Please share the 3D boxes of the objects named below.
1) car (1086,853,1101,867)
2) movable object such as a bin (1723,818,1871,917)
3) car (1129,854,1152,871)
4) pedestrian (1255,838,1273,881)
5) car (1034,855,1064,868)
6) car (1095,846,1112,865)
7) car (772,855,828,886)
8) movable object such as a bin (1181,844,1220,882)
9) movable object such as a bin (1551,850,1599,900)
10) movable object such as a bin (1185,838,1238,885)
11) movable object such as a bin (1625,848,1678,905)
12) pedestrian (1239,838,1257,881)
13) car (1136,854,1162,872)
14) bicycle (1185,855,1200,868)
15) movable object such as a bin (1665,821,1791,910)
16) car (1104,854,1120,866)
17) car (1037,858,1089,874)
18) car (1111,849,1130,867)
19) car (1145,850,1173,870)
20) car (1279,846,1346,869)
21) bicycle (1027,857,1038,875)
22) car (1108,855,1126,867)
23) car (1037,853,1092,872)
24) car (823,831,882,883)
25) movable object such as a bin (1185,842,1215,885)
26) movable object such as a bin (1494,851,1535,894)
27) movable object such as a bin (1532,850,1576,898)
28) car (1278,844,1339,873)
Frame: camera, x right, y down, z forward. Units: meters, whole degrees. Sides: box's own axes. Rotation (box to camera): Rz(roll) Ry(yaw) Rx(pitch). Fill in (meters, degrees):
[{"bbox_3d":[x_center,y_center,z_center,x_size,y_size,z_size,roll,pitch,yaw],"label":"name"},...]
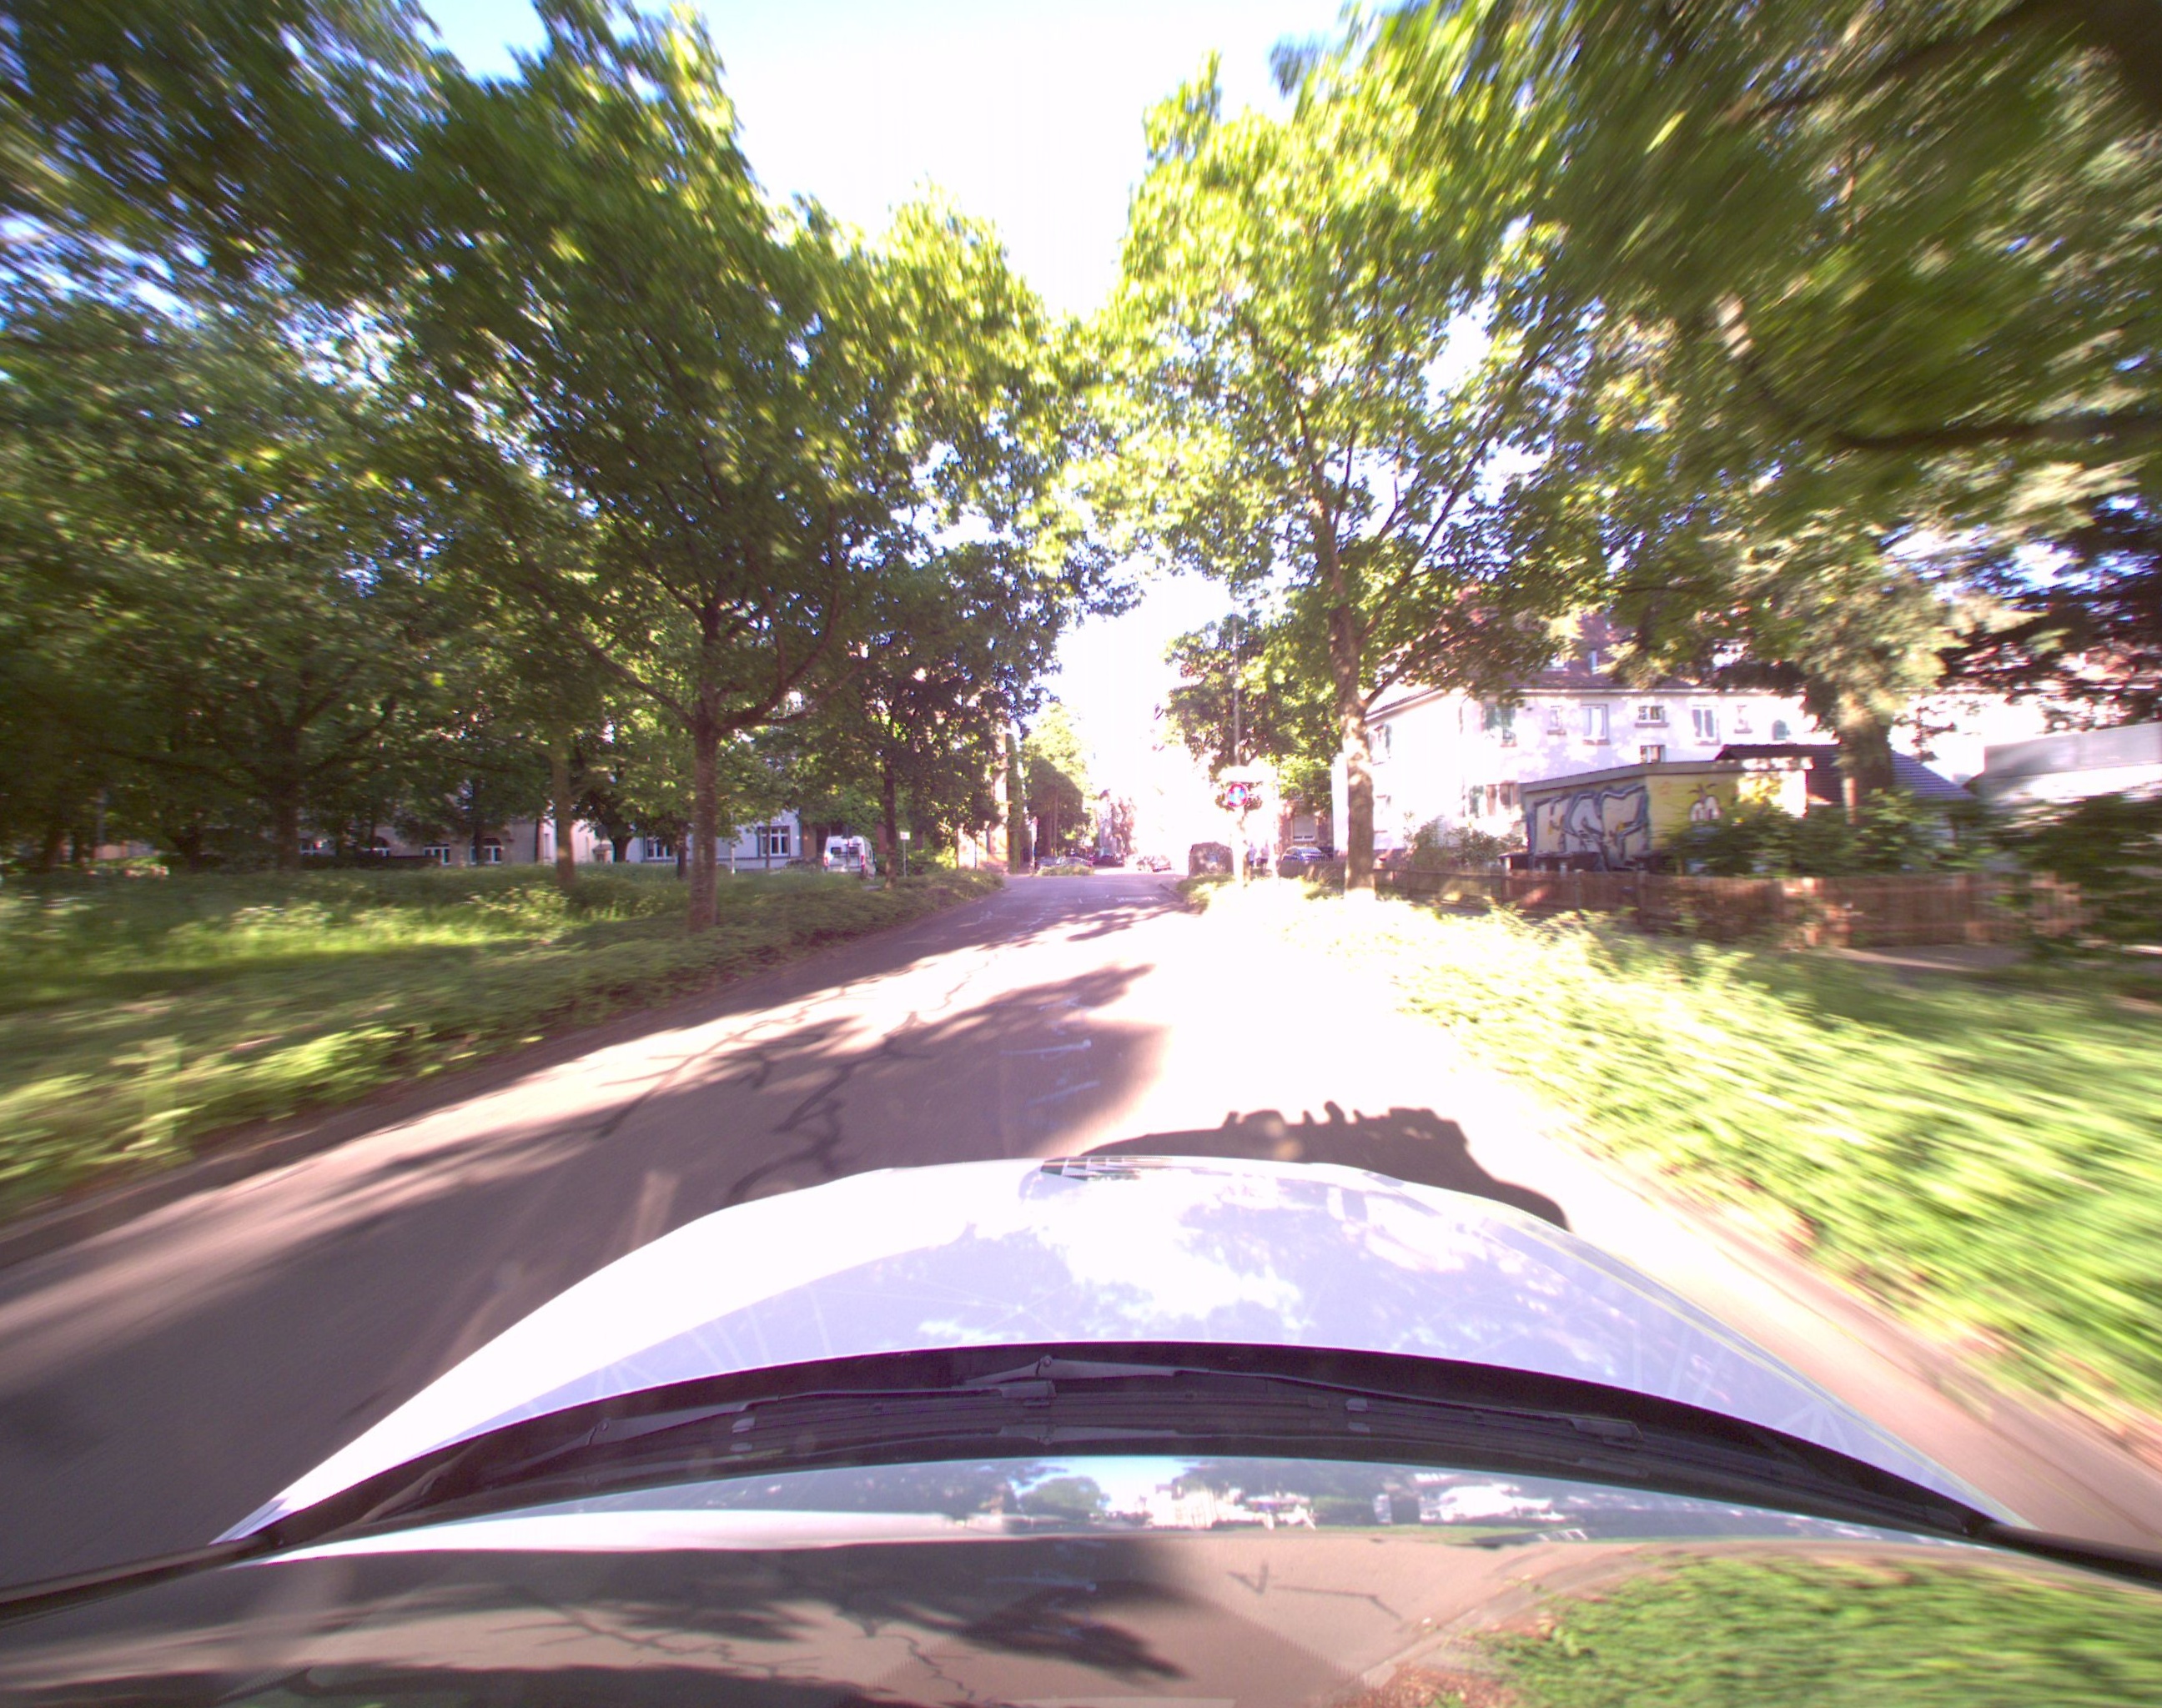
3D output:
[{"bbox_3d":[2.016,0.971,137.555,2.161,2.237,4.784,0,-1,-4],"label":"car"},{"bbox_3d":[11.257,0.205,12.874,1.075,1.427,1.366,-3,-1,1],"label":"movable object such as a bin"},{"bbox_3d":[5.677,0.832,78.069,1.734,1.581,3.995,0,-1,-4],"label":"car"},{"bbox_3d":[8.319,0.244,37.051,0.640,1.894,1.019,0,-1,2],"label":"pedestrian"},{"bbox_3d":[-4.225,0.974,106.390,3.796,1.575,1.707,0,-1,-6],"label":"car"},{"bbox_3d":[3.310,0.206,120.491,2.161,2.691,4.784,0,-1,-4],"label":"car"},{"bbox_3d":[-14.915,0.853,43.453,1.970,1.575,4.289,0,-1,-7],"label":"car"},{"bbox_3d":[5.423,0.403,37.105,1.580,1.657,1.640,0,-1,1],"label":"movable object such as a bin"},{"bbox_3d":[10.708,0.444,17.661,0.603,1.029,0.641,-3,-1,1],"label":"movable object such as a bin"},{"bbox_3d":[5.220,0.297,32.741,1.913,1.853,1.394,0,-1,1],"label":"movable object such as a bin"},{"bbox_3d":[10.834,0.427,15.486,0.536,1.029,0.615,-3,-1,1],"label":"movable object such as a bin"},{"bbox_3d":[7.463,0.230,36.413,0.670,1.894,0.896,0,-1,2],"label":"pedestrian"},{"bbox_3d":[6.042,0.785,72.578,1.734,1.581,3.995,0,-1,-4],"label":"car"},{"bbox_3d":[8.610,0.582,62.916,0.515,0.998,1.568,0,-1,-15],"label":"bicycle"},{"bbox_3d":[11.364,0.201,14.374,1.075,1.430,1.388,-3,-1,1],"label":"movable object such as a bin"},{"bbox_3d":[4.151,0.817,110.202,1.799,1.679,3.995,0,-1,-4],"label":"car"},{"bbox_3d":[-1.712,1.127,77.114,4.828,1.435,1.707,0,-1,-6],"label":"car"},{"bbox_3d":[4.637,0.459,95.034,1.799,2.004,3.995,0,-1,-4],"label":"car"},{"bbox_3d":[6.342,0.462,66.478,1.734,1.581,3.995,0,-1,-4],"label":"car"},{"bbox_3d":[16.278,0.230,57.379,4.242,1.622,1.730,0,1,-8],"label":"car"},{"bbox_3d":[-3.573,0.897,60.484,0.560,1.268,1.604,-2,0,4],"label":"bicycle"},{"bbox_3d":[4.562,0.916,103.478,1.799,1.514,3.995,0,-1,-4],"label":"car"},{"bbox_3d":[-1.366,0.671,64.633,4.237,1.435,1.996,0,-1,-6],"label":"car"},{"bbox_3d":[-12.316,0.175,44.295,2.229,2.614,5.618,0,-1,-7],"label":"car"},{"bbox_3d":[5.164,0.403,35.351,1.143,1.827,1.387,0,-1,1],"label":"movable object such as a bin"},{"bbox_3d":[10.790,0.449,20.298,0.641,1.029,0.645,-3,-1,1],"label":"movable object such as a bin"},{"bbox_3d":[10.728,0.453,18.489,0.612,1.029,0.595,-3,-1,1],"label":"movable object such as a bin"},{"bbox_3d":[13.003,0.300,46.833,1.992,1.556,3.989,0,-2,-7],"label":"car"}]
